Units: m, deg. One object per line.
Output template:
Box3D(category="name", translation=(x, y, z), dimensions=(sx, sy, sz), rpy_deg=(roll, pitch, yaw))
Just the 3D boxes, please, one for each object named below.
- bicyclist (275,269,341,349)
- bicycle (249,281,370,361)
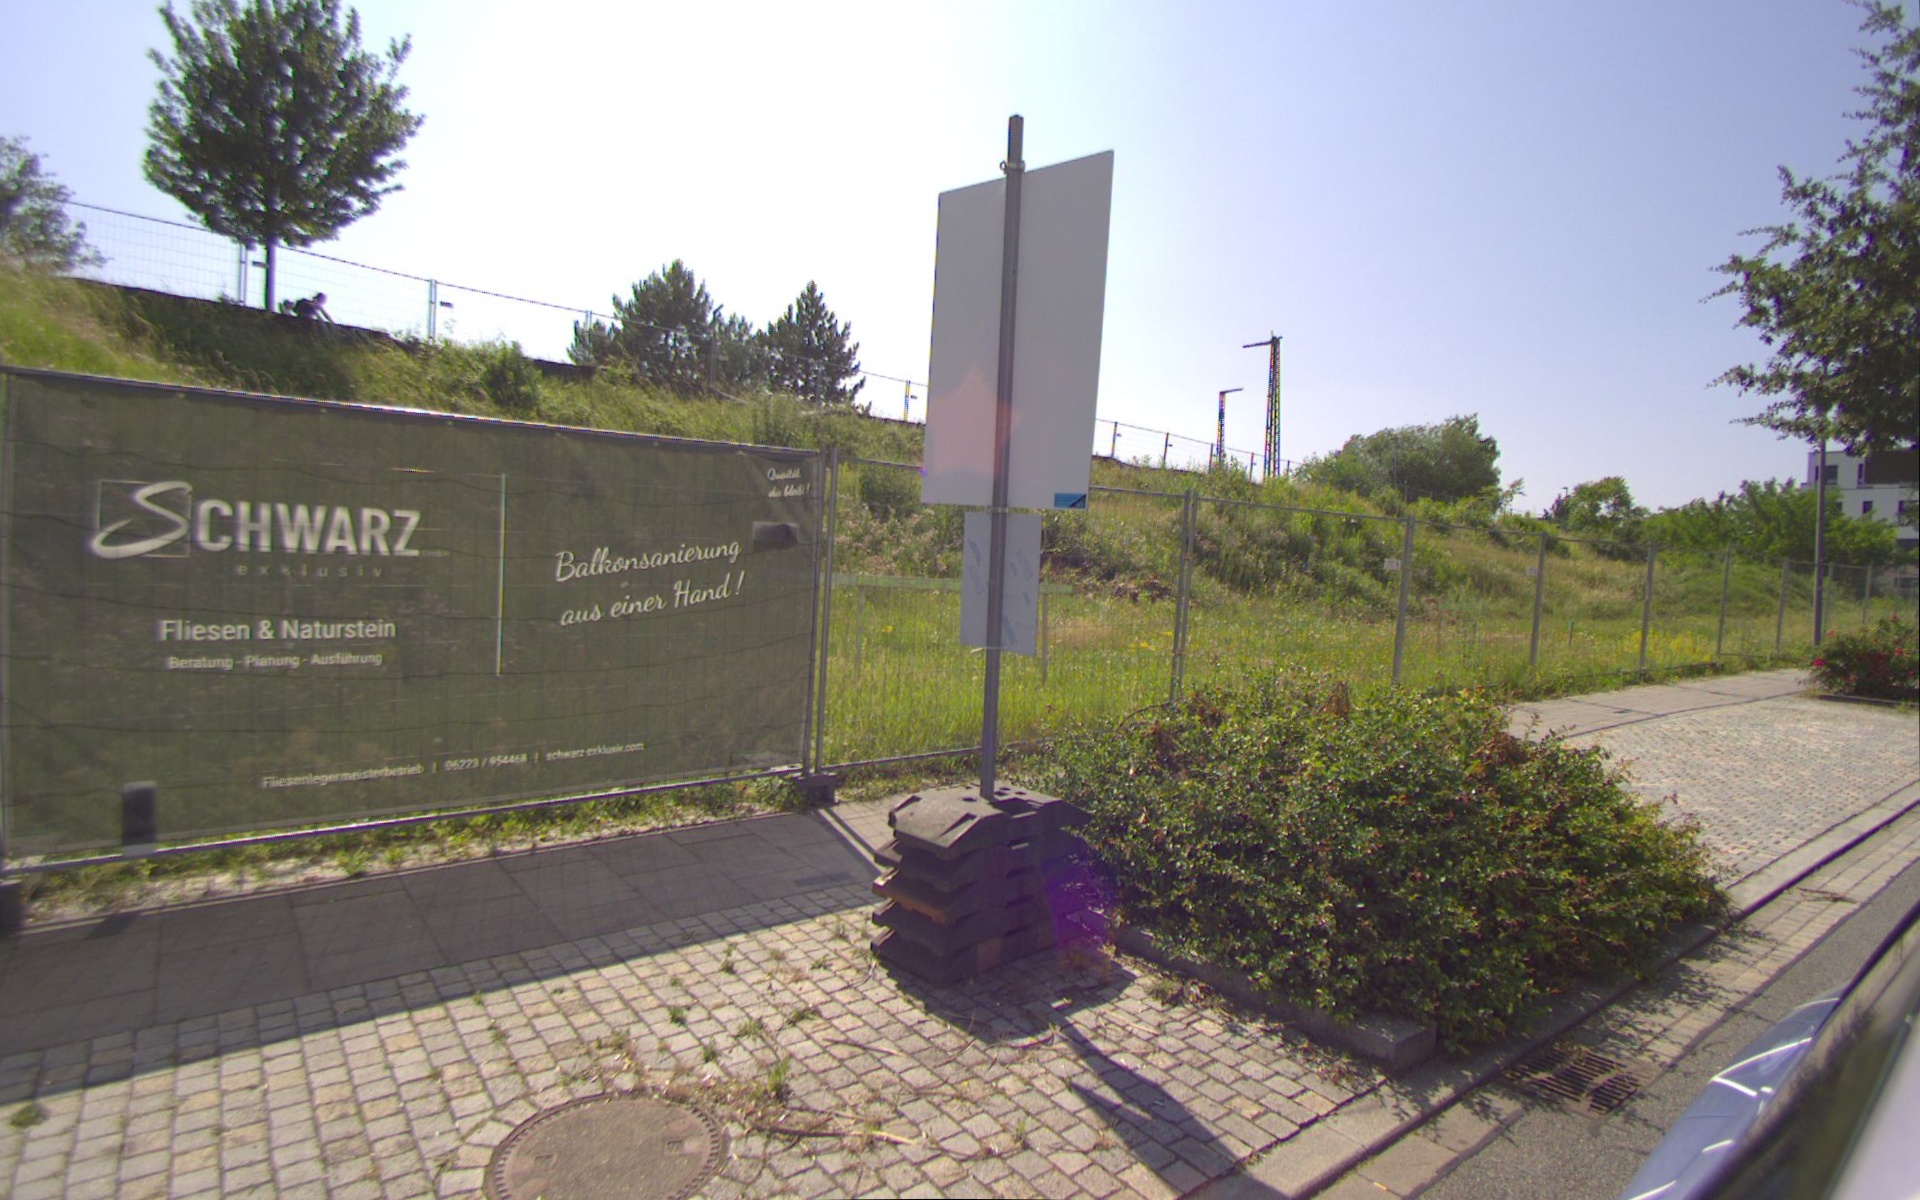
Box3D(category="bicyclist", translation=(-14.722, -6.549, 22.863), dimensions=(0.949, 1.405, 1.046), rpy_deg=(0, 1, 43))
Box3D(category="bicycle", translation=(-14.696, -6.269, 22.893), dimensions=(0.934, 1.228, 2.141), rpy_deg=(0, 1, 43))
